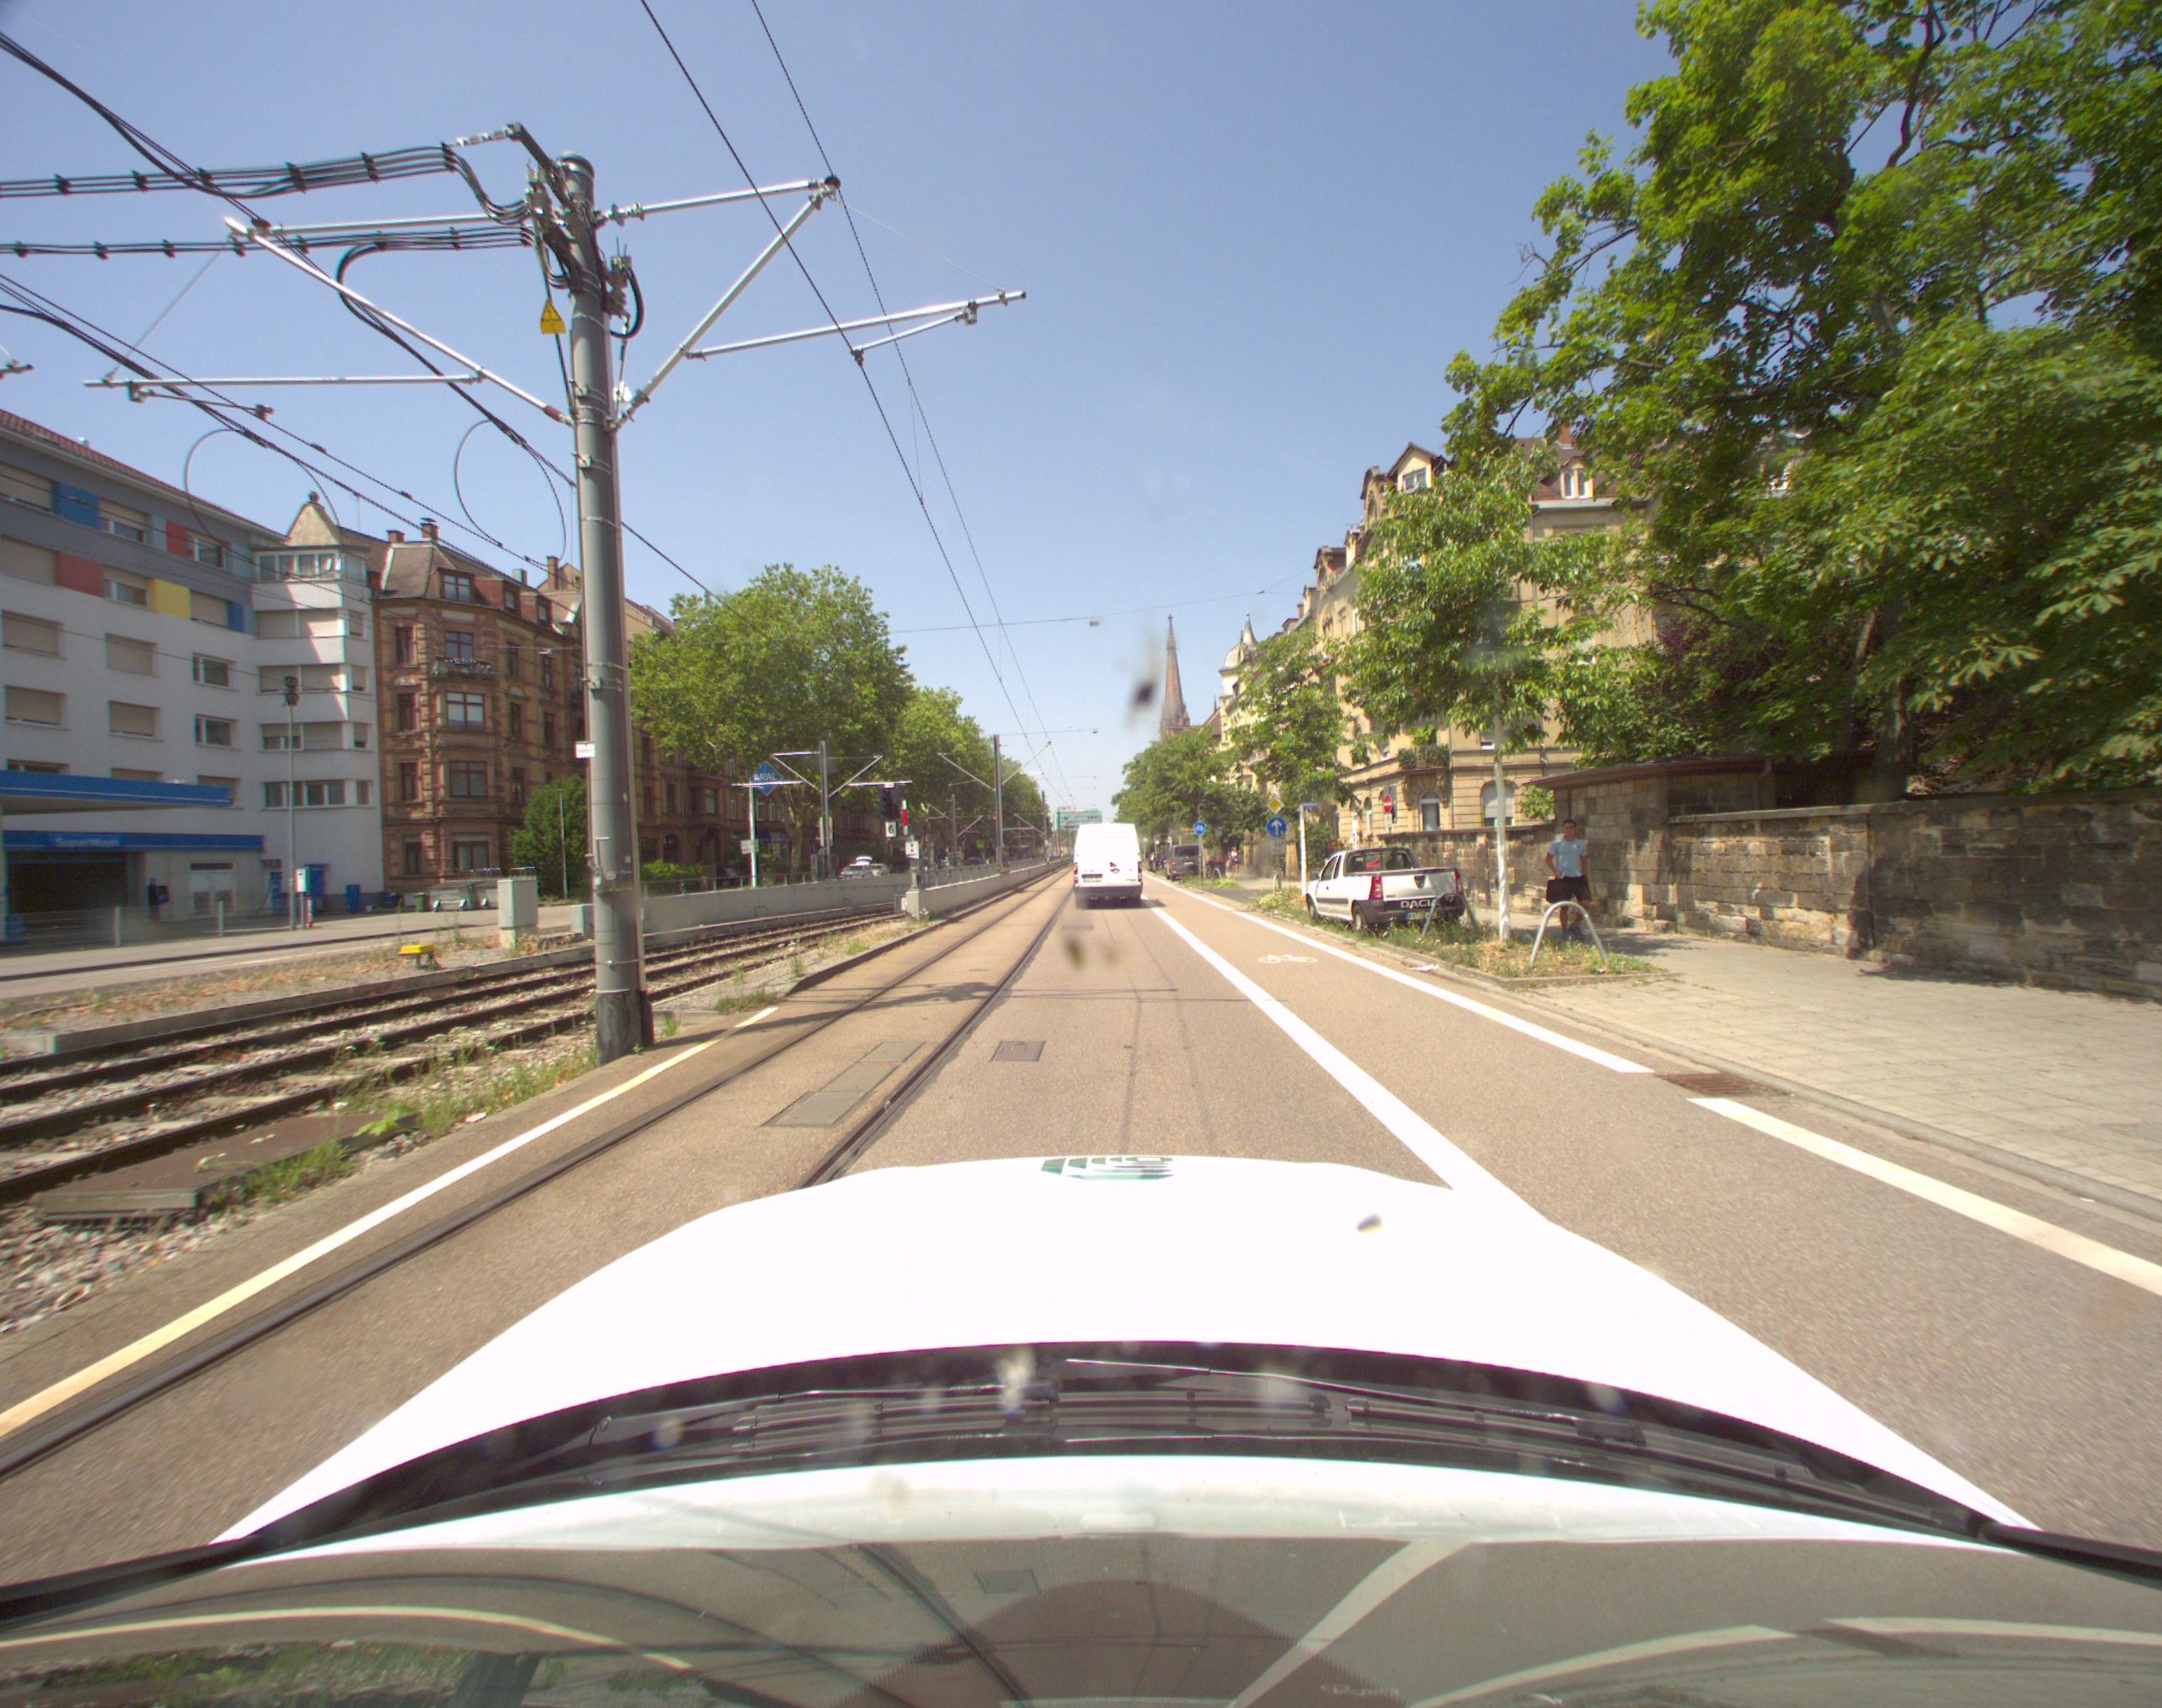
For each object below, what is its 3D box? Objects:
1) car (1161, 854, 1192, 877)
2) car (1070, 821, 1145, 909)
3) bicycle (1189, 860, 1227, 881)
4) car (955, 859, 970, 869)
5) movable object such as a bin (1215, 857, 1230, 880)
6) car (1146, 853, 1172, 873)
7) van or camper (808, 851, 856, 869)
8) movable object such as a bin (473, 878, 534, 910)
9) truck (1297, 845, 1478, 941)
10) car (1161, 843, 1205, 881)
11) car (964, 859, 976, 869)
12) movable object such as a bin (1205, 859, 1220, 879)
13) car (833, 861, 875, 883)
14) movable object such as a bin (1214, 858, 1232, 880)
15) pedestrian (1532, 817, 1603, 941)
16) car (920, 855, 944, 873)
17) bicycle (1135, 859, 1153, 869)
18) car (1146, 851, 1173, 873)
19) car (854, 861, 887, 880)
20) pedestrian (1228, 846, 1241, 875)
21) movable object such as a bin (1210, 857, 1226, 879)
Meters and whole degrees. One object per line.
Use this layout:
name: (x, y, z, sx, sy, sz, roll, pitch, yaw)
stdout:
car: (6.244, 0.723, 53.676, 1.605, 1.405, 4.001, -2, 0, 1)
car: (0.772, 0.317, 26.061, 2.110, 2.459, 5.053, -2, 0, 0)
bicycle: (6.613, 0.841, 42.446, 1.880, 0.991, 0.469, -2, 0, -9)
car: (-17.662, 1.511, 121.383, 1.586, 1.448, 4.001, -2, 0, 1)
movable object such as a bin: (6.975, 0.711, 40.124, 0.666, 1.062, 0.497, -2, 0, 7)
car: (6.314, 0.702, 66.482, 1.723, 1.536, 4.404, -2, 0, 0)
van or camper: (-26.800, 0.654, 87.692, 4.520, 1.836, 1.936, -2, 0, 6)
movable object such as a bin: (-27.313, 1.897, 38.582, 1.777, 1.385, 1.469, -2, 0, -1)
truck: (5.612, 0.635, 15.584, 1.783, 1.526, 4.465, -2, 0, 0)
car: (5.739, 0.401, 46.353, 1.872, 1.947, 4.837, -3, 0, 1)
car: (-17.649, 1.553, 129.485, 1.368, 1.423, 3.089, -2, 0, 2)
movable object such as a bin: (6.727, 0.779, 41.610, 0.595, 1.011, 0.564, -2, 0, -9)
car: (-18.172, 1.433, 65.511, 1.987, 1.625, 4.717, -2, 0, 0)
movable object such as a bin: (6.912, 0.716, 39.575, 0.783, 1.014, 0.651, -2, 0, 7)
pedestrian: (7.142, 0.360, 11.980, 0.619, 1.755, 0.679, -2, 0, 2)
car: (-14.496, 0.978, 79.283, 1.648, 1.684, 3.707, -2, 0, 0)
bicycle: (6.670, 1.063, 85.901, 1.835, 0.953, 0.503, -2, 0, 2)
car: (5.859, 0.539, 60.897, 1.661, 1.530, 4.014, -2, 0, 1)
car: (-18.229, 1.411, 70.766, 1.784, 1.556, 4.086, -2, 0, 0)
pedestrian: (8.566, 0.361, 45.504, 0.549, 1.598, 0.728, -2, 0, 3)
movable object such as a bin: (6.863, 0.710, 40.889, 0.742, 1.062, 0.497, -2, 0, 7)
